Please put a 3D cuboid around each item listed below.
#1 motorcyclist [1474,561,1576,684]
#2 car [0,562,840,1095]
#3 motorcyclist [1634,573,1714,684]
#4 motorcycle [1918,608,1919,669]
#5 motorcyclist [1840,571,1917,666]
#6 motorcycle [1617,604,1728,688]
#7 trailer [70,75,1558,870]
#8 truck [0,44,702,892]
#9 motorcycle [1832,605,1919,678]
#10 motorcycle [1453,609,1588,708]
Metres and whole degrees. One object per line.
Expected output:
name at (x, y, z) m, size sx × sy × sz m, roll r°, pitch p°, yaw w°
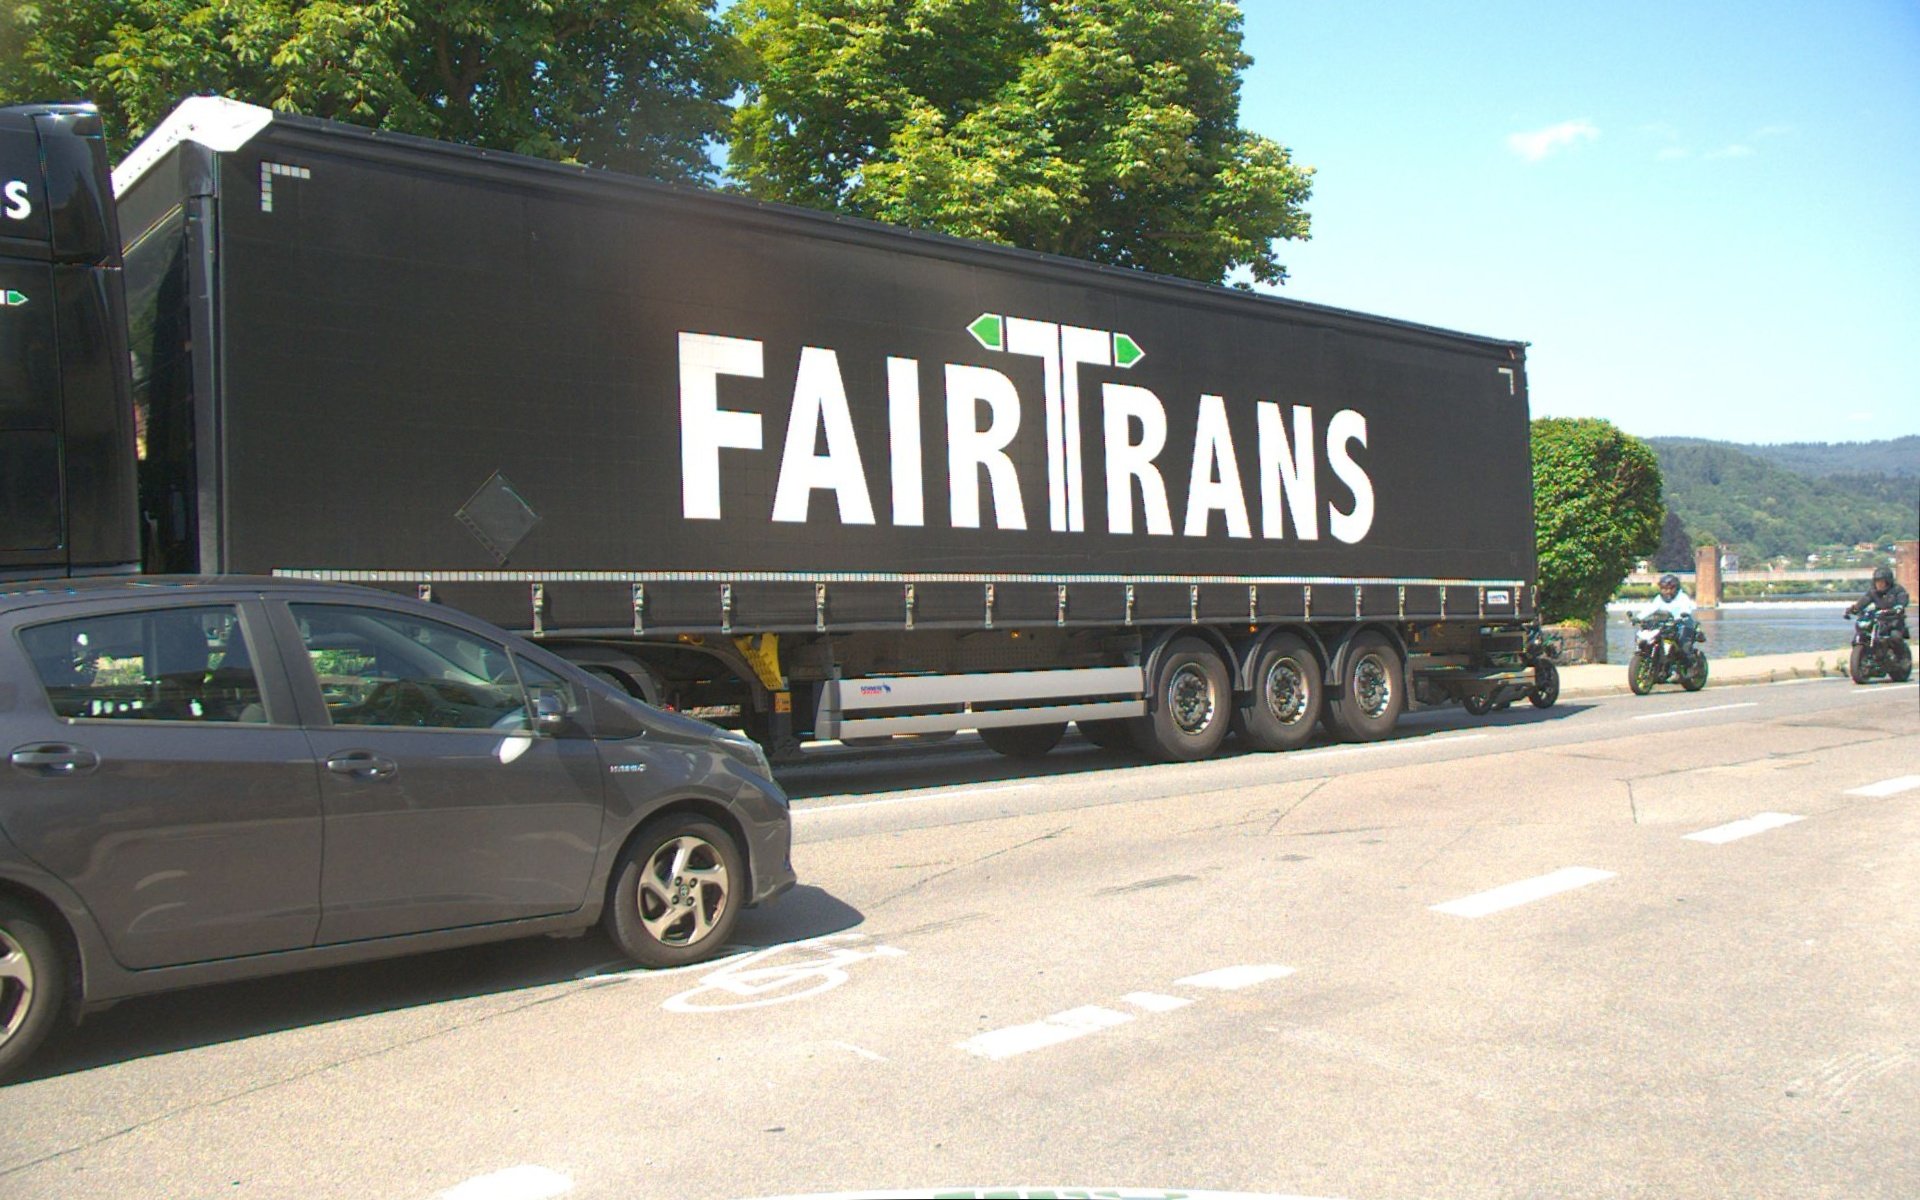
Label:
motorcyclist at (7.023, 0.279, 20.565) m, size 0.983 × 1.486 × 0.769 m, roll -1°, pitch -2°, yaw -41°
car at (-2.478, 0.655, 6.153) m, size 3.849 × 1.525 × 1.701 m, roll -1°, pitch 0°, yaw -43°
motorcyclist at (10.308, 0.409, 23.878) m, size 0.983 × 1.551 × 0.655 m, roll -1°, pitch -2°, yaw -42°
motorcycle at (17.361, 0.648, 28.784) m, size 1.799 × 1.042 × 0.649 m, roll -1°, pitch -1°, yaw -42°
motorcyclist at (13.830, 0.272, 24.892) m, size 0.793 × 1.390 × 0.777 m, roll 0°, pitch -1°, yaw -41°
motorcycle at (10.288, 0.653, 23.857) m, size 2.075 × 1.143 × 0.625 m, roll -1°, pitch -2°, yaw -42°
trailer at (0.260, -0.721, 14.224) m, size 13.648 × 4.176 × 2.800 m, roll -1°, pitch -2°, yaw -41°
truck at (-4.825, -0.618, 9.766) m, size 5.879 × 4.143 × 2.797 m, roll -1°, pitch -2°, yaw -41°
motorcycle at (13.798, 0.609, 24.815) m, size 1.799 × 1.042 × 0.649 m, roll -1°, pitch -1°, yaw -42°
motorcycle at (6.995, 0.714, 20.591) m, size 2.075 × 1.143 × 0.625 m, roll -1°, pitch -2°, yaw -42°
